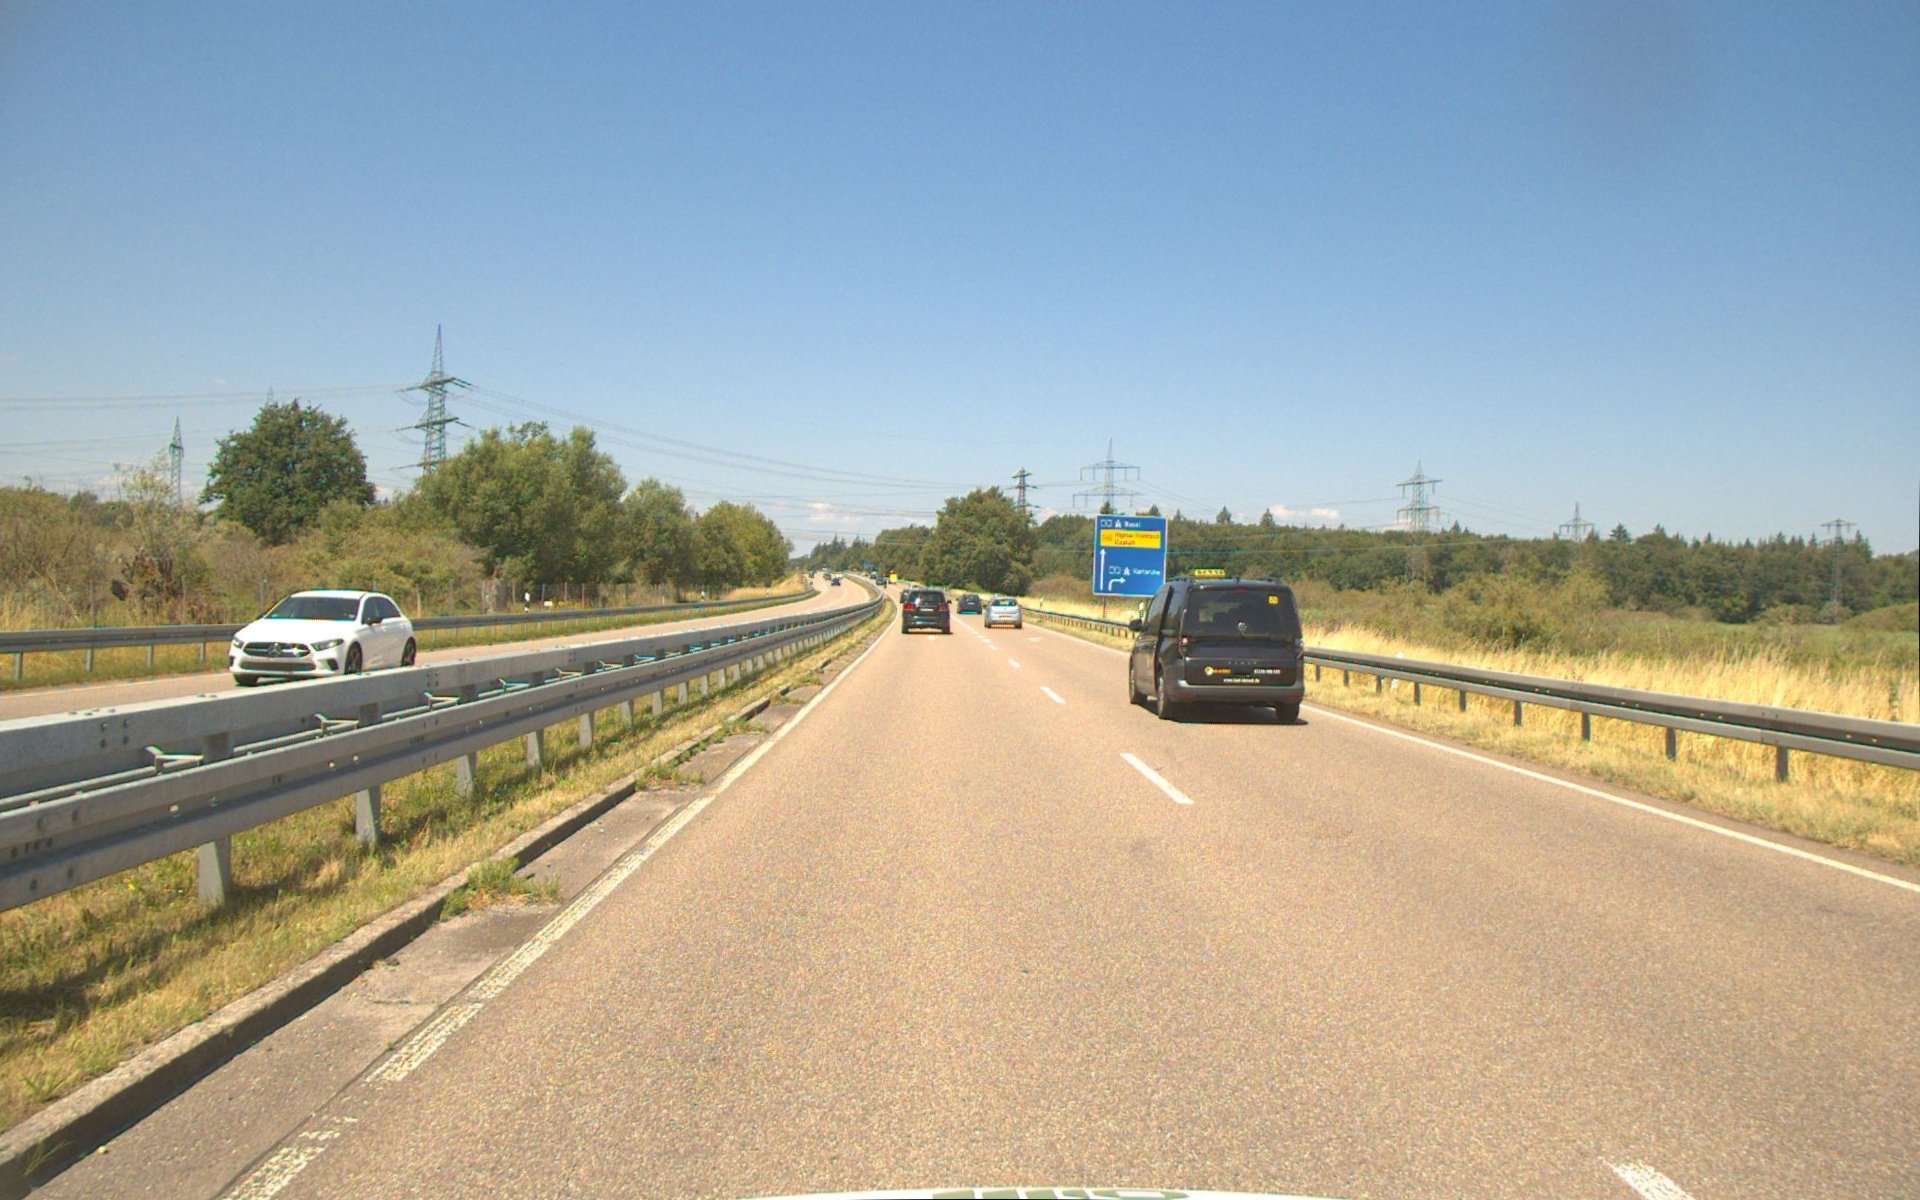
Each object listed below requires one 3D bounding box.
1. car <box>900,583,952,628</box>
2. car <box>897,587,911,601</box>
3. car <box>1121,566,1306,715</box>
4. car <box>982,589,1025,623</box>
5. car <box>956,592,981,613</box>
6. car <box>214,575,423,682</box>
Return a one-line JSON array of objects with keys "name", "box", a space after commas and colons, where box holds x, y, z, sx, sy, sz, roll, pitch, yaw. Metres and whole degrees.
[{"name": "car", "box": [-1.352, 0.192, 65.566, 1.953, 1.683, 3.999, 2, 0, -2]}, {"name": "car", "box": [-6.216, -0.633, 184.394, 1.484, 1.501, 3.064, 2, 0, -3]}, {"name": "car", "box": [3.418, 0.492, 23.036, 1.744, 1.848, 4.211, 1, 0, -2]}, {"name": "car", "box": [2.036, 0.269, 78.345, 1.743, 1.505, 4.314, 2, 0, -2]}, {"name": "car", "box": [0.606, 0.175, 121.898, 1.782, 1.439, 4.000, 1, 1, -1]}, {"name": "car", "box": [-10.165, 0.414, 26.554, 1.790, 1.524, 4.101, 2, 0, -1]}]
